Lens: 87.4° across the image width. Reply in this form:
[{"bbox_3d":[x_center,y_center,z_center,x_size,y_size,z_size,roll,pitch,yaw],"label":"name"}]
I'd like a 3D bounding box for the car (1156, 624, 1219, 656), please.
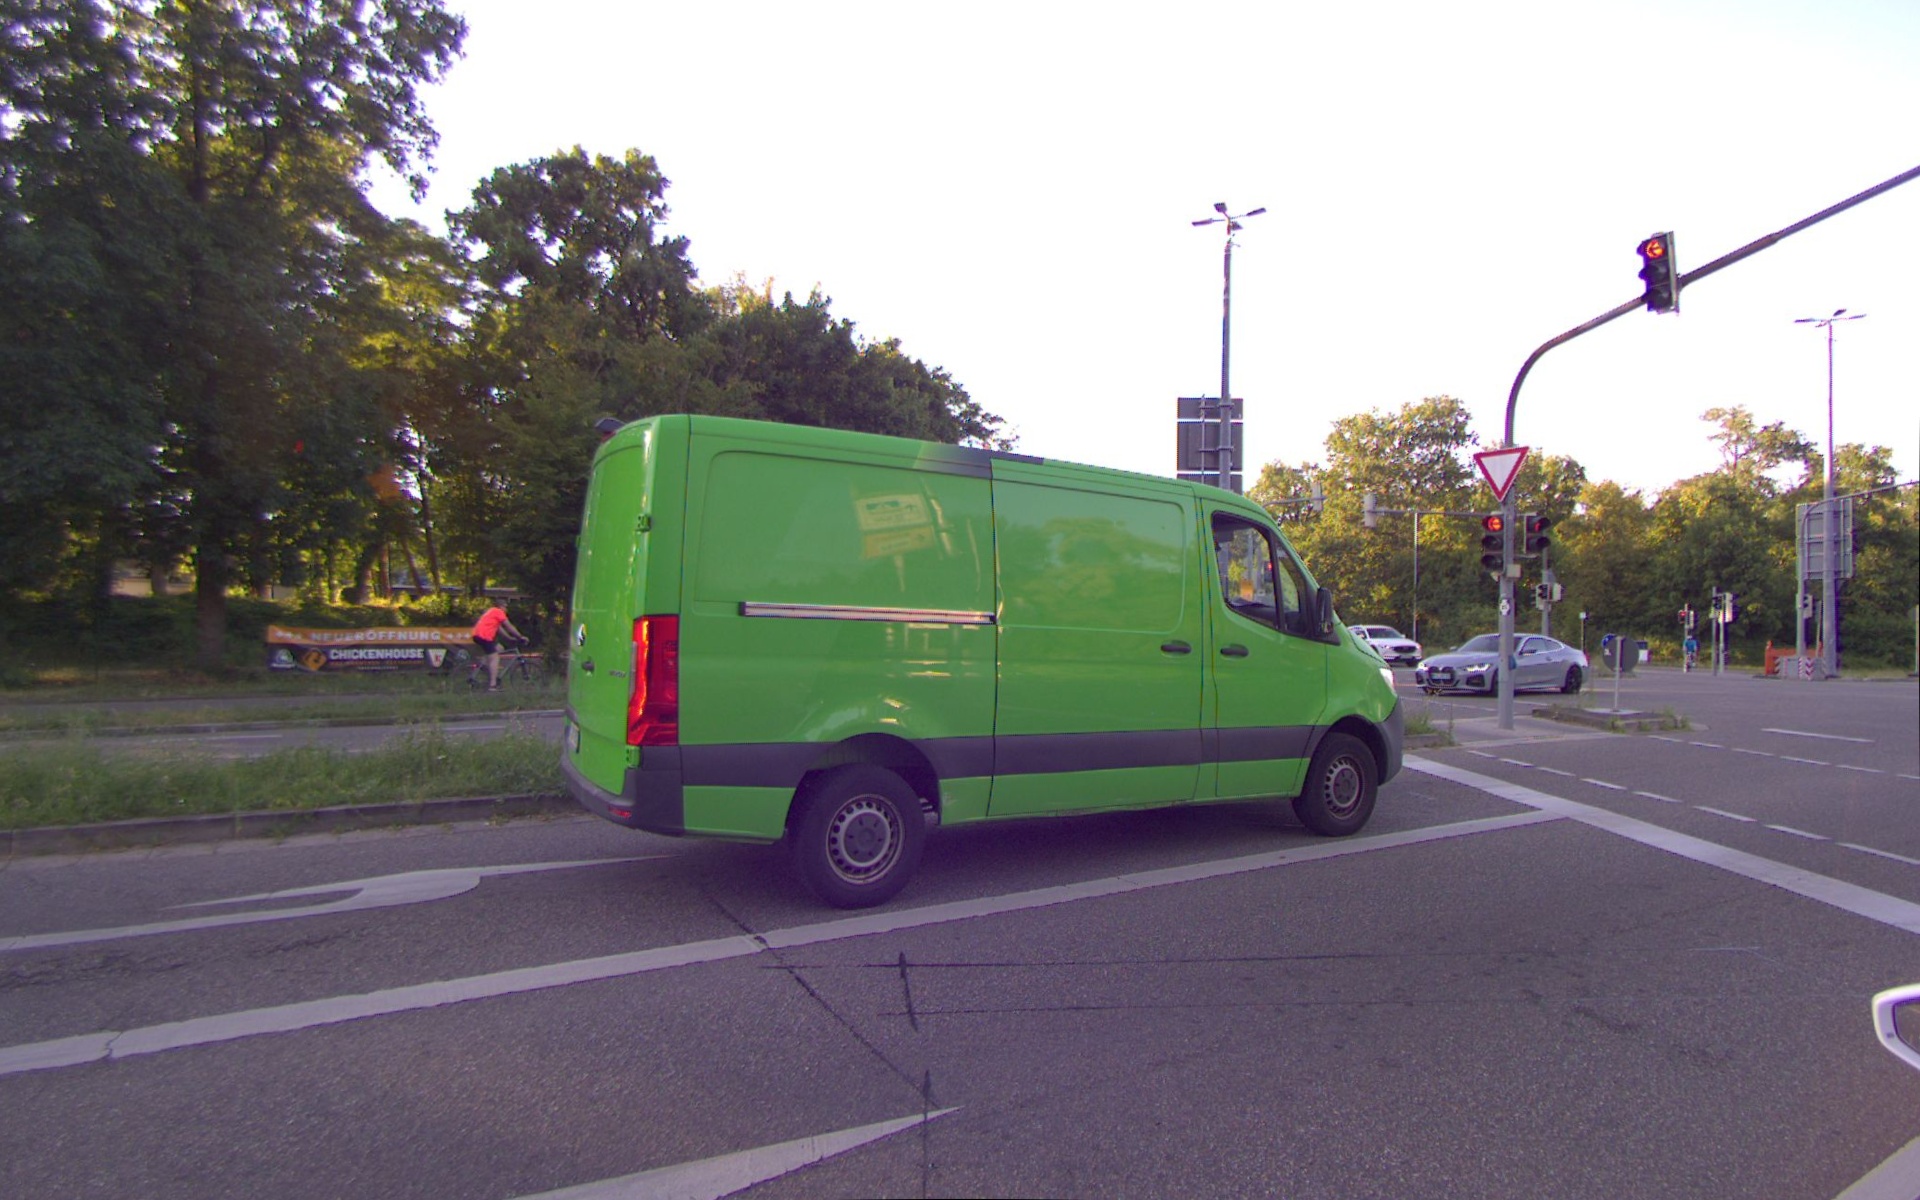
[{"bbox_3d":[12.682,2.215,56.201,1.964,1.661,4.250,1,-1,-10],"label":"car"}]

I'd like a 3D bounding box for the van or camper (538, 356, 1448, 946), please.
[{"bbox_3d":[0.537,0.291,6.566,5.830,2.453,1.983,2,-1,-32],"label":"van or camper"}]

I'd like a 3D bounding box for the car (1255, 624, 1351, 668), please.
[{"bbox_3d":[13.806,1.813,40.700,1.963,1.661,4.252,1,-1,-8],"label":"car"}]

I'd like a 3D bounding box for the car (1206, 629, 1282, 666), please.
[{"bbox_3d":[13.495,2.225,48.048,1.963,1.661,4.252,1,-1,-8],"label":"car"}]

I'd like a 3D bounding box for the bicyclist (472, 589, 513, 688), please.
[{"bbox_3d":[-9.106,0.750,19.554,0.613,1.899,0.455,2,-1,-38],"label":"bicyclist"}]

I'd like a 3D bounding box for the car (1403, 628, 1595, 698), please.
[{"bbox_3d":[12.473,1.417,23.184,4.447,1.460,1.883,2,-1,-30],"label":"car"}]

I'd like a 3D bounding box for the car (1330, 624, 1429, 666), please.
[{"bbox_3d":[17.493,1.847,42.107,1.963,1.661,4.252,1,-1,-8],"label":"car"}]

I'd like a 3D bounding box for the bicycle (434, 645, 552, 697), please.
[{"bbox_3d":[-9.072,1.361,19.569,2.027,0.946,0.488,2,-2,-39],"label":"bicycle"}]
